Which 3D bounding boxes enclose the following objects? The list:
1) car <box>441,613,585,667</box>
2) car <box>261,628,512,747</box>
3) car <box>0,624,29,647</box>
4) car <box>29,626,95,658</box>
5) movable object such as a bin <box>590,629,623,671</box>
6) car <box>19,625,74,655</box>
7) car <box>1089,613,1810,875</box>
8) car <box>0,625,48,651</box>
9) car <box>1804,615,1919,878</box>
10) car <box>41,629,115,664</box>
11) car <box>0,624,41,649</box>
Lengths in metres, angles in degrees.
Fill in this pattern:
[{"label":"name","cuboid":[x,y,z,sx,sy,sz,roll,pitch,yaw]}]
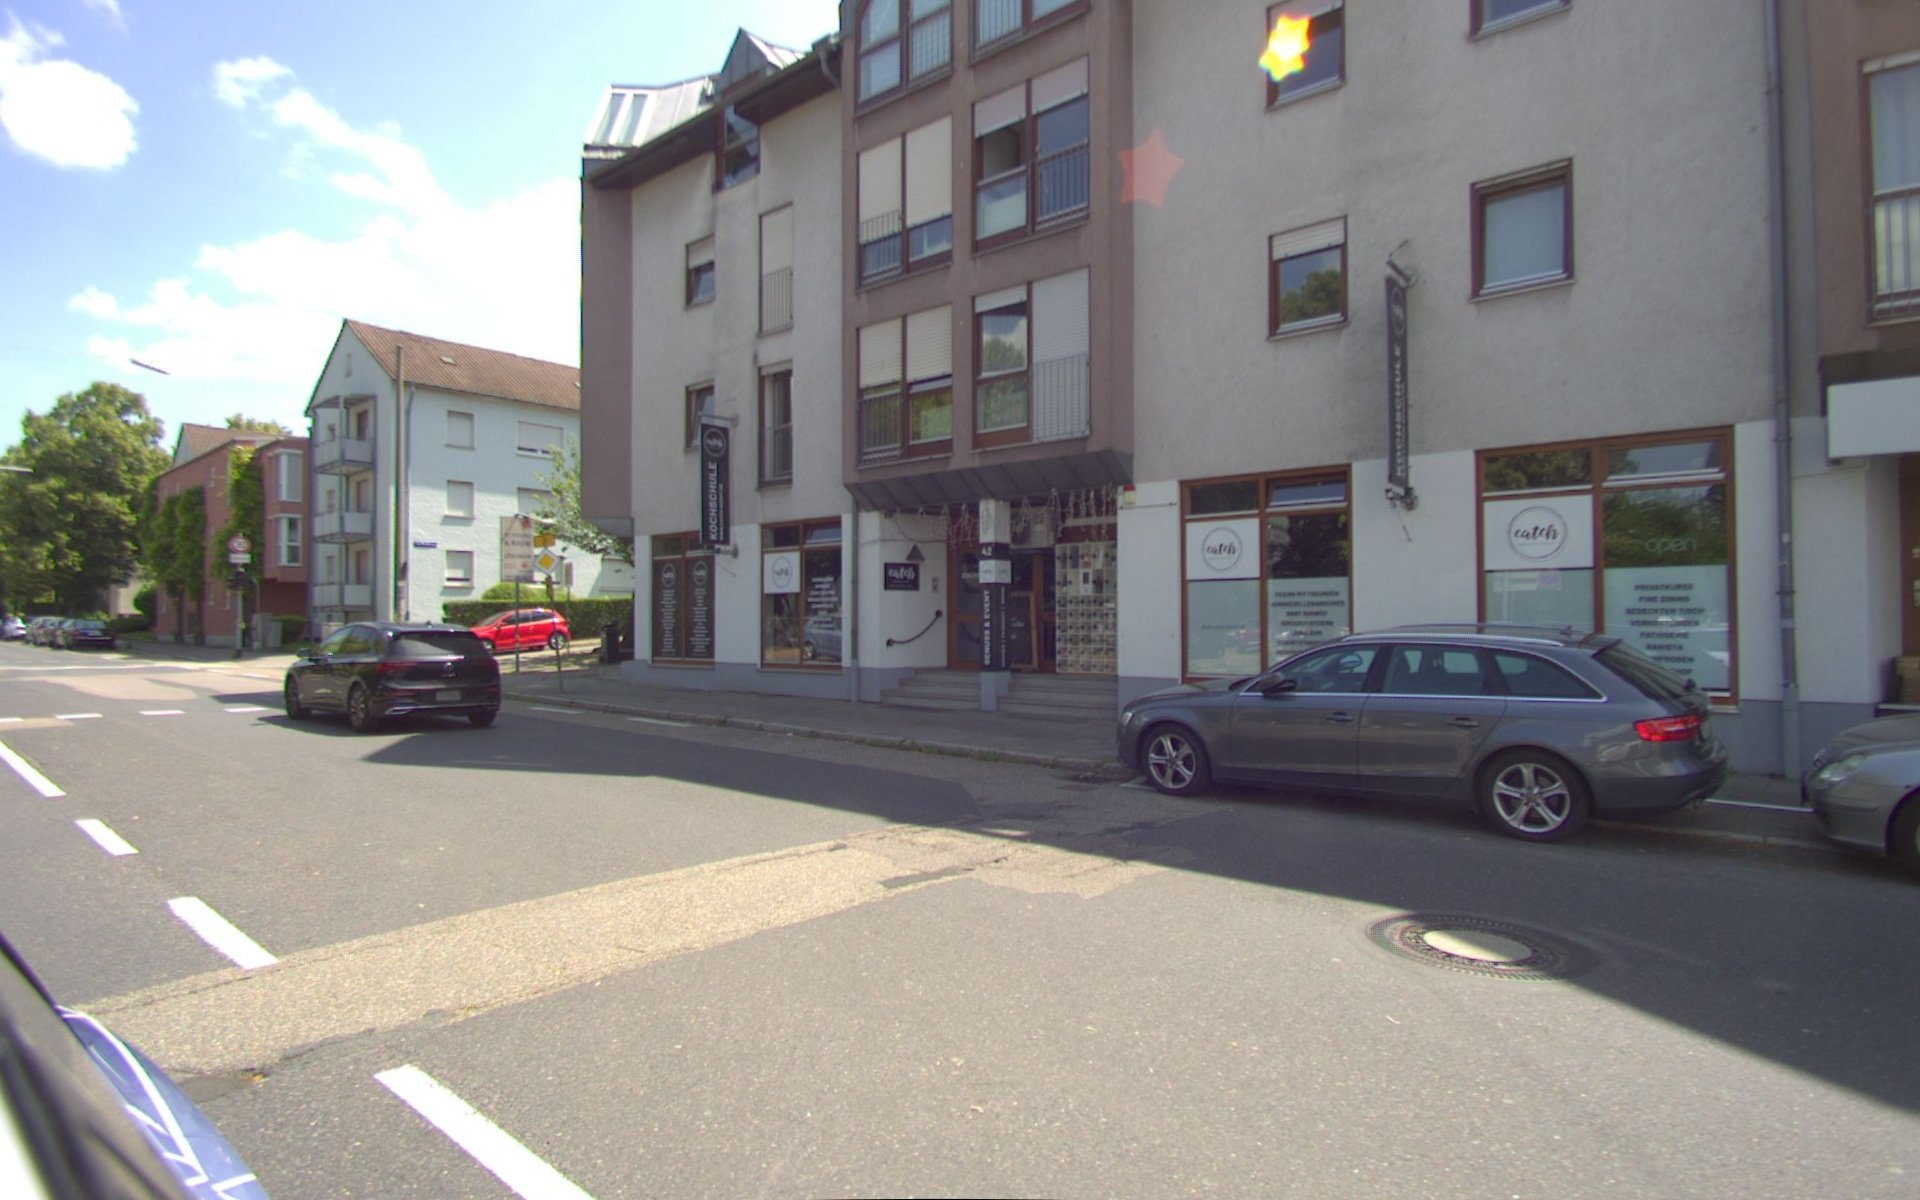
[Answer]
[{"label":"car","cuboid":[-14.729,1.297,33.495,1.731,1.462,3.948,-3,1,40]},{"label":"car","cuboid":[-8.220,1.130,14.352,4.220,1.430,1.725,-1,-3,40]},{"label":"car","cuboid":[-63.965,2.374,68.070,3.997,1.519,1.552,-1,-1,40]},{"label":"car","cuboid":[-45.666,2.104,51.430,4.564,1.551,1.867,-1,-2,40]},{"label":"movable object such as a bin","cuboid":[-9.349,1.321,26.796,0.624,1.105,0.673,0,-2,1]},{"label":"car","cuboid":[-50.189,2.178,55.557,3.997,1.519,1.730,-1,-1,40]},{"label":"car","cuboid":[3.620,0.878,8.245,4.969,1.458,1.820,-1,1,43]},{"label":"car","cuboid":[-55.609,2.242,60.007,3.997,1.453,1.730,-1,-1,40]},{"label":"car","cuboid":[7.177,0.805,5.179,4.326,1.394,1.820,-1,1,42]},{"label":"car","cuboid":[-41.038,2.109,47.051,4.564,1.551,1.867,-1,-2,40]},{"label":"car","cuboid":[-60.147,2.288,64.591,3.997,1.519,1.730,-1,-1,40]}]
